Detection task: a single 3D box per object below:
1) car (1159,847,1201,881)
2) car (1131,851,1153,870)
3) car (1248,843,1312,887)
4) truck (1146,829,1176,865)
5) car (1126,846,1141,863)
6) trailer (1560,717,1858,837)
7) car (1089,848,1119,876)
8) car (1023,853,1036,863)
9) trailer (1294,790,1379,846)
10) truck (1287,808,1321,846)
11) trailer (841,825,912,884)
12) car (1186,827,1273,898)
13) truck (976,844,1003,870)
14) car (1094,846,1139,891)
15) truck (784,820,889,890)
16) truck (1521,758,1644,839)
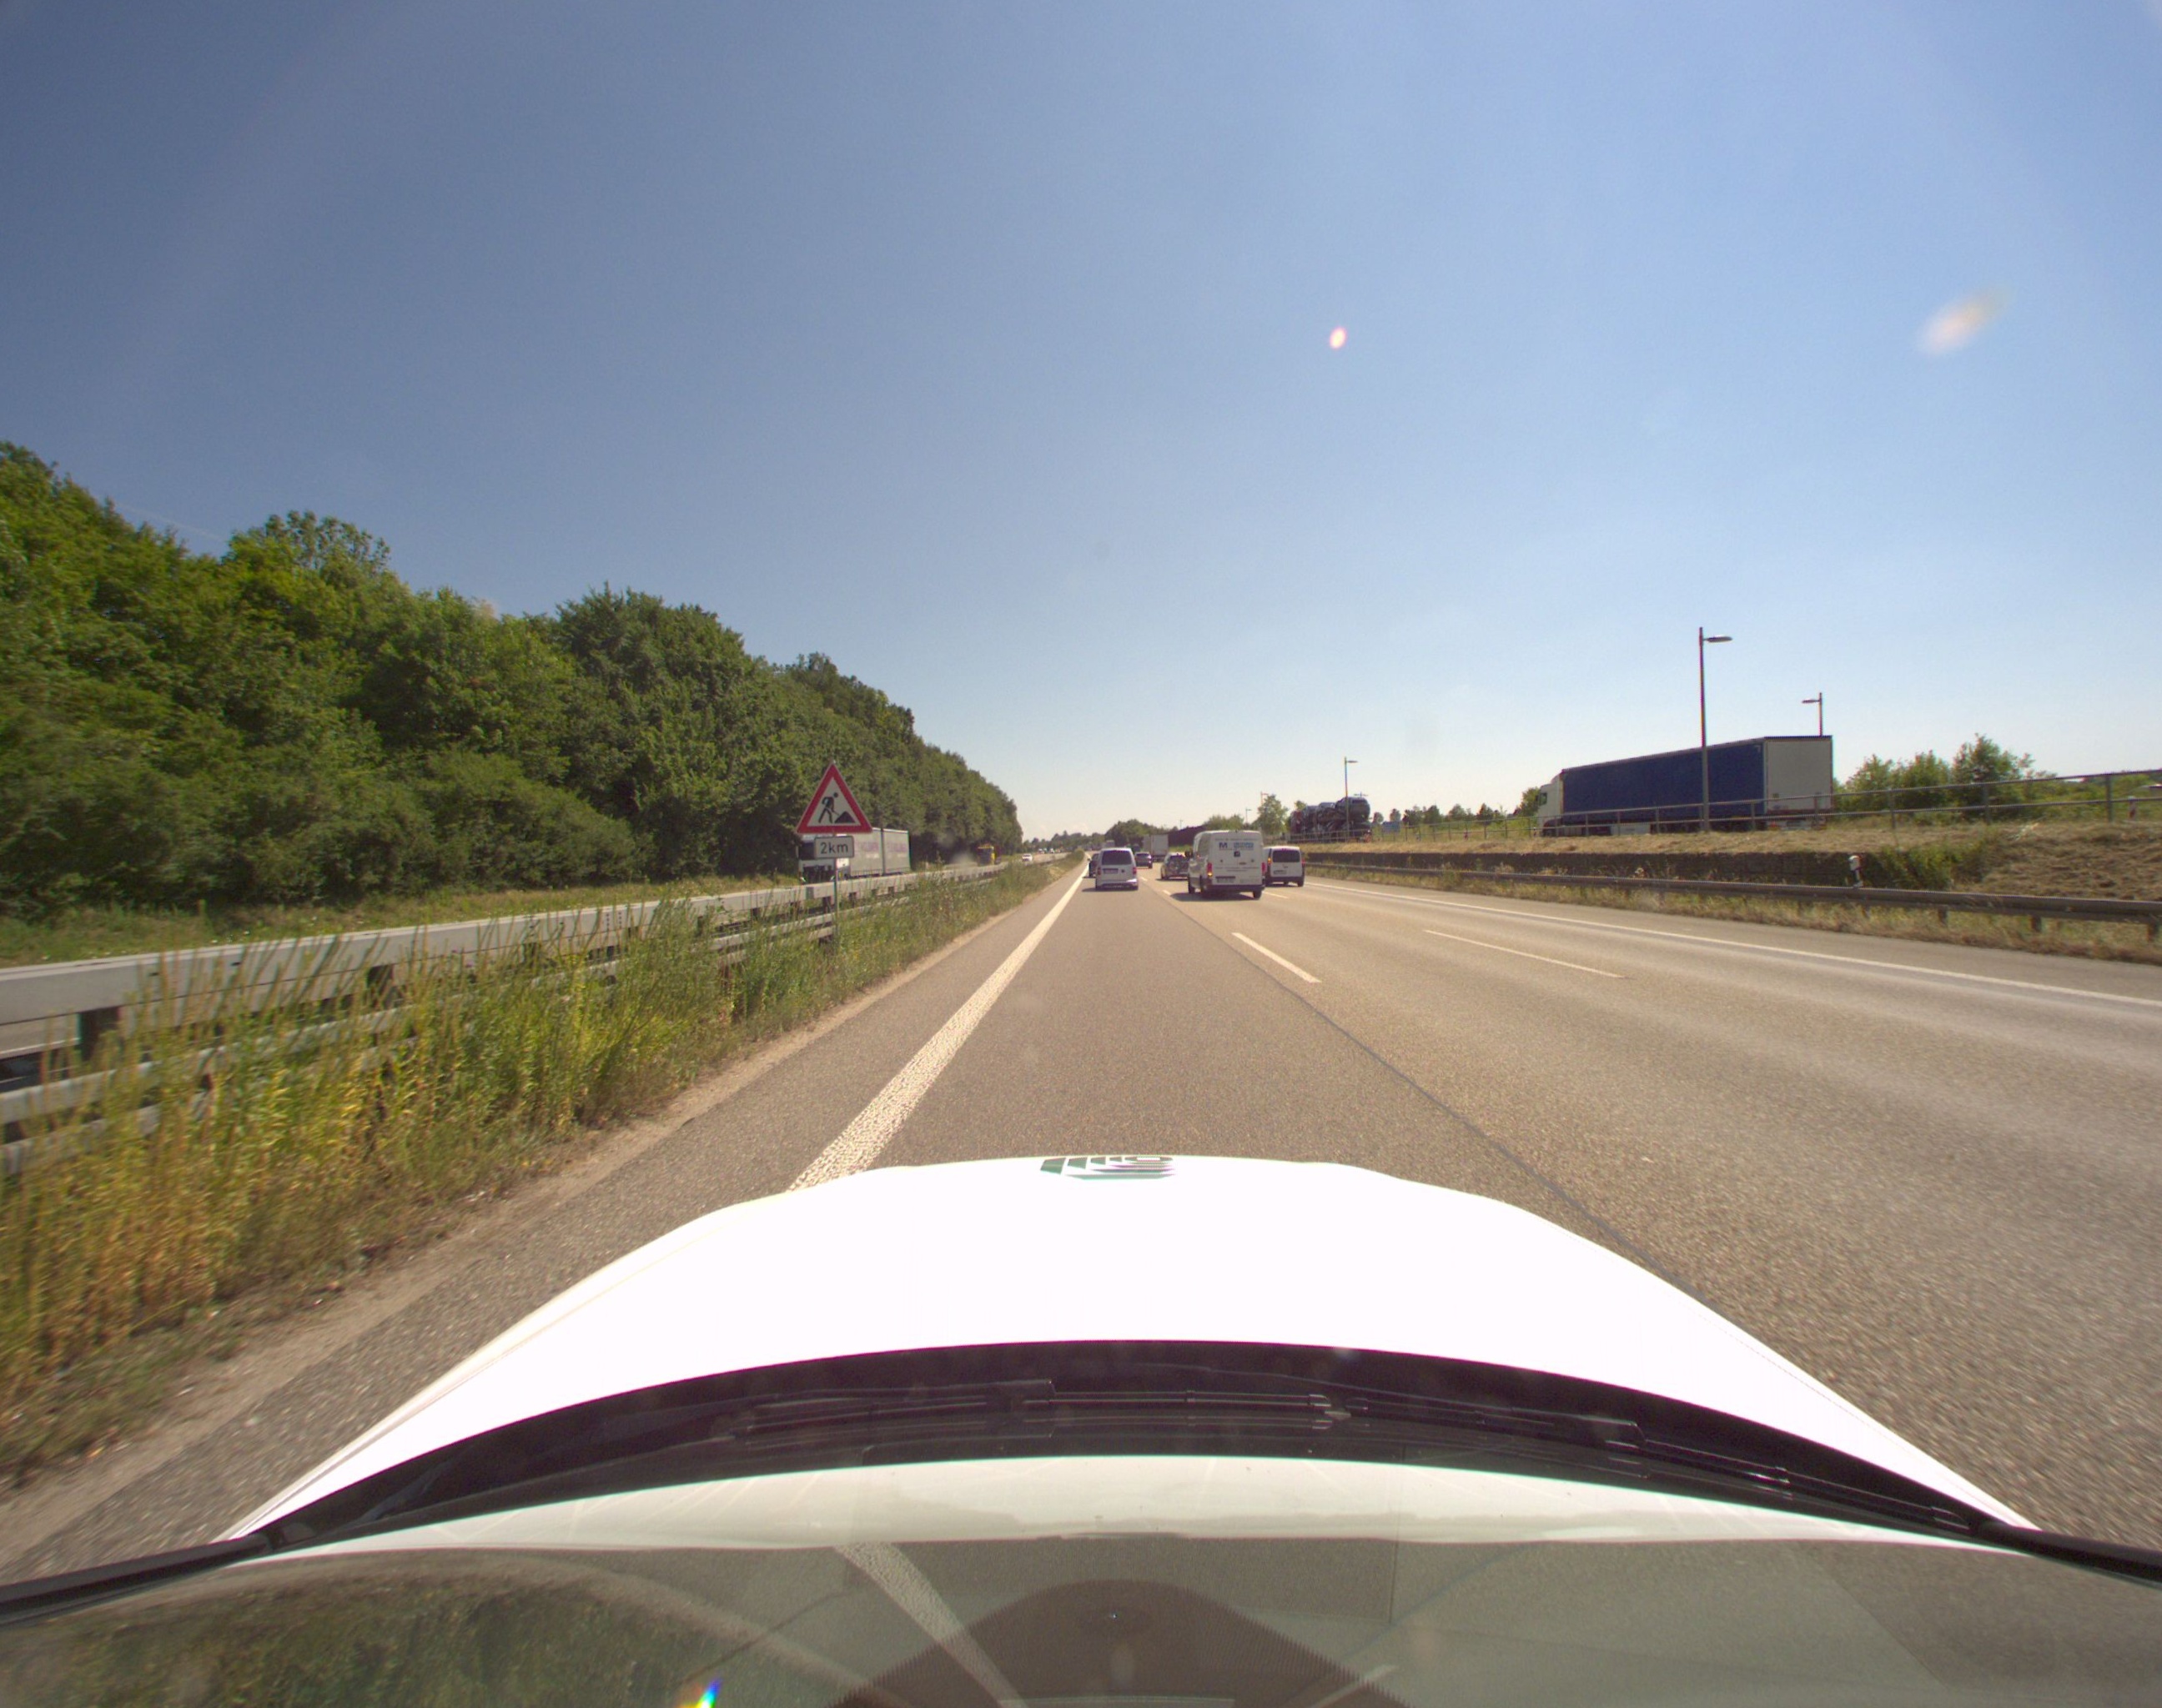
[{"bbox_3d":[5.467,0.542,45.509,1.968,1.733,4.091,-2,-1,3],"label":"car"},{"bbox_3d":[5.775,0.596,77.100,1.894,1.672,4.091,-2,-1,3],"label":"car"},{"bbox_3d":[9.027,0.490,37.299,1.944,1.838,4.179,-2,-1,1],"label":"car"},{"bbox_3d":[11.540,-0.944,119.284,3.772,5.000,12.527,0,0,3],"label":"truck"},{"bbox_3d":[6.109,0.043,95.190,1.668,1.891,4.091,-2,-1,3],"label":"car"},{"bbox_3d":[27.644,-3.008,37.535,3.041,4.083,14.261,0,0,1],"label":"trailer"},{"bbox_3d":[1.518,0.517,52.449,1.737,1.701,4.092,-2,-1,3],"label":"car"},{"bbox_3d":[-9.590,0.715,152.123,1.986,1.670,5.612,-4,-1,1],"label":"car"},{"bbox_3d":[23.385,-3.032,76.108,2.596,4.258,18.425,0,0,1],"label":"trailer"},{"bbox_3d":[23.652,-2.807,86.459,2.593,3.827,4.001,0,-1,1],"label":"truck"},{"bbox_3d":[-15.760,0.045,63.439,3.442,4.279,7.969,0,-1,0],"label":"trailer"},{"bbox_3d":[5.116,0.300,28.813,2.174,2.254,5.364,-1,0,1],"label":"car"},{"bbox_3d":[-13.960,0.454,125.224,2.773,3.738,11.159,0,0,1],"label":"truck"},{"bbox_3d":[1.545,0.606,34.892,1.738,1.764,4.091,-2,-1,3],"label":"car"},{"bbox_3d":[-15.819,0.074,53.938,3.442,3.994,11.122,-2,0,0],"label":"truck"},{"bbox_3d":[27.862,-2.949,45.643,3.041,4.083,6.399,0,-1,1],"label":"truck"}]
